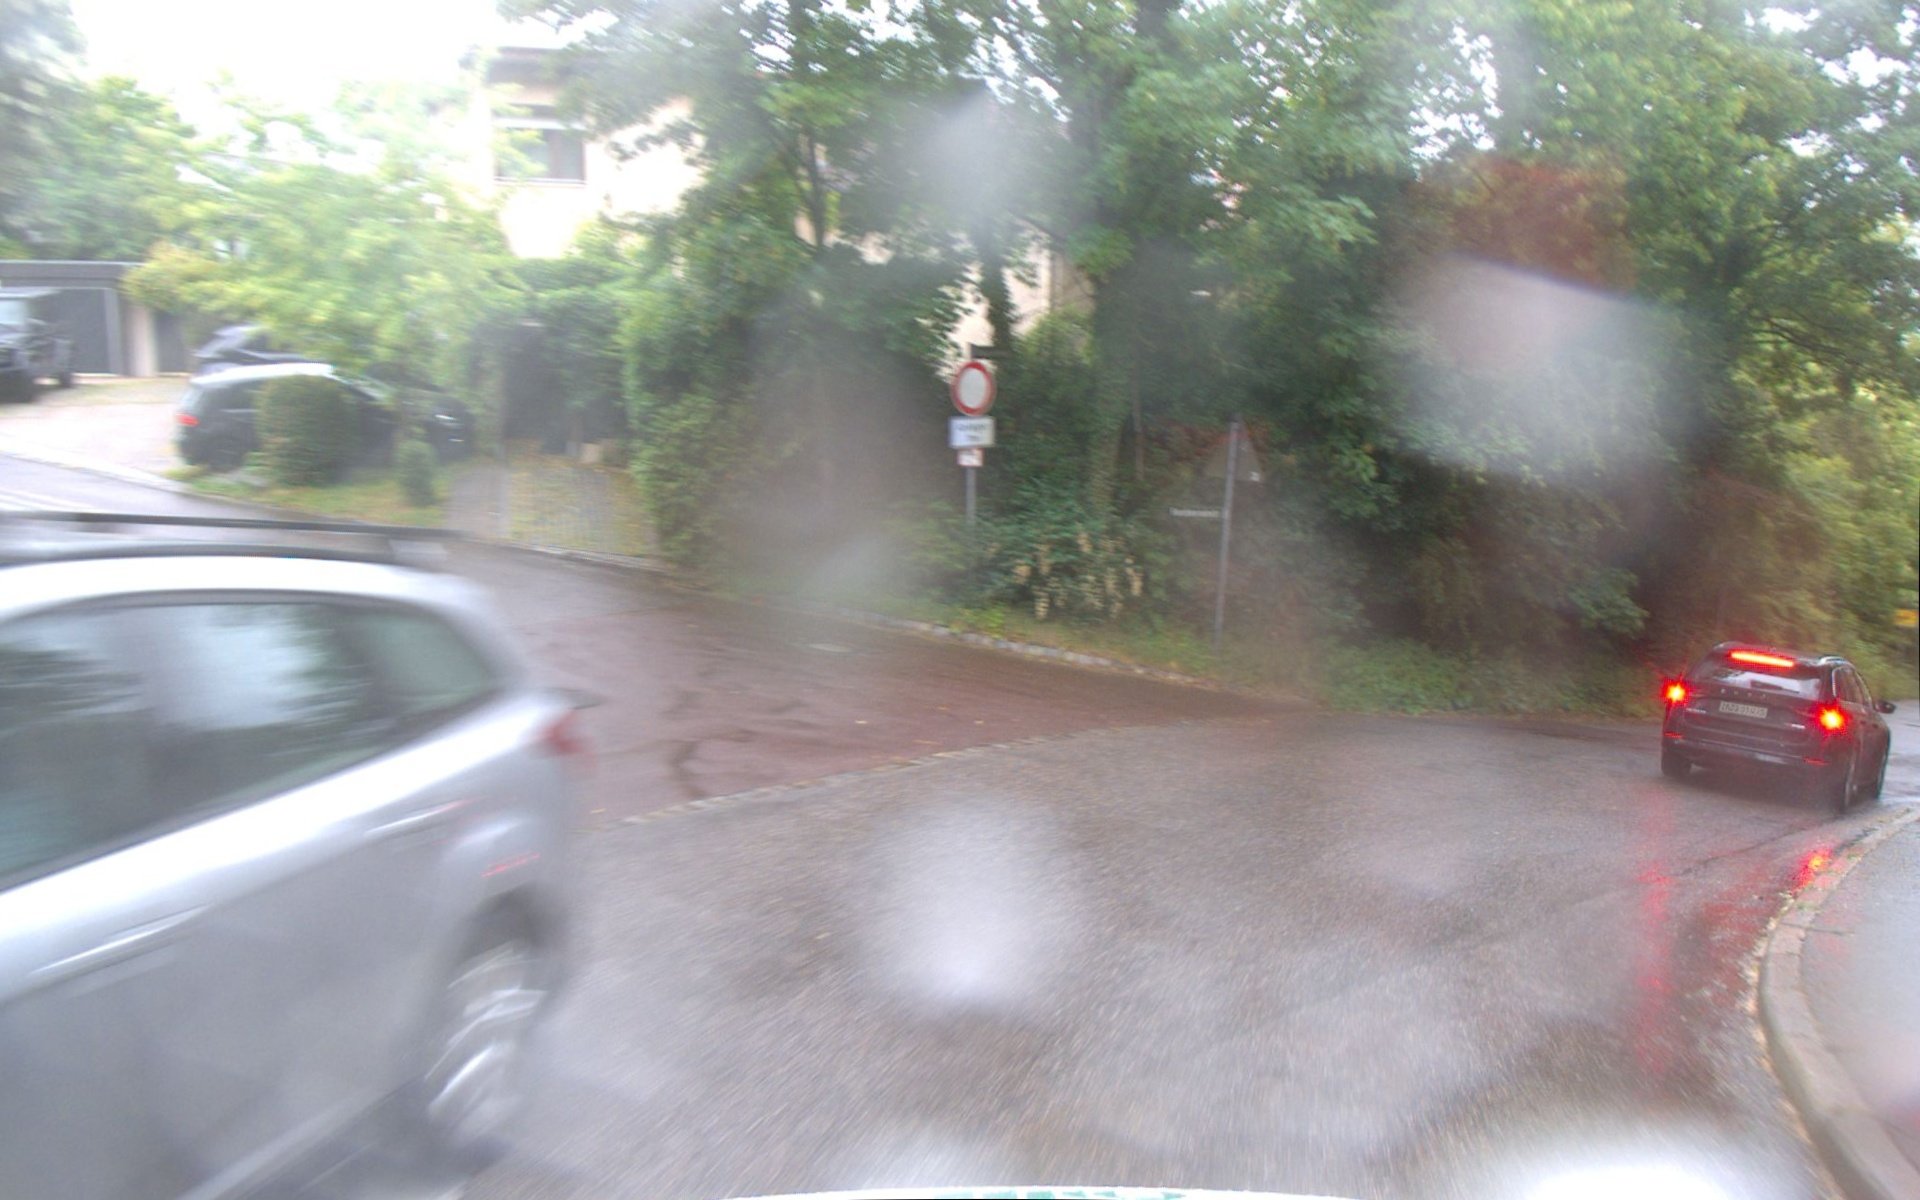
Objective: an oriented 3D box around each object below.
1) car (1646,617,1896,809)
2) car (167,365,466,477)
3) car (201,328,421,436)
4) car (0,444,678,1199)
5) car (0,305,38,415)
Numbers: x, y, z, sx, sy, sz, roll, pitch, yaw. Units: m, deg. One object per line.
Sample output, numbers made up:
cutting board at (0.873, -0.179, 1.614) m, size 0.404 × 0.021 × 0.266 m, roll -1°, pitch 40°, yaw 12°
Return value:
car at (8.629, 1.070, 17.430) m, size 1.672 × 1.474 × 3.987 m, roll 7°, pitch 5°, yaw 34°
car at (-9.395, -2.679, 24.486) m, size 3.924 × 1.439 × 1.694 m, roll -2°, pitch 12°, yaw -18°
car at (-11.278, -3.826, 28.985) m, size 3.340 × 1.598 × 1.592 m, roll -1°, pitch 16°, yaw -15°
car at (-2.053, 0.493, 2.771) m, size 1.637 × 1.563 × 4.125 m, roll 5°, pitch 2°, yaw 11°
car at (-18.654, -4.525, 31.139) m, size 1.865 × 1.640 × 3.977 m, roll -7°, pitch 17°, yaw -25°
